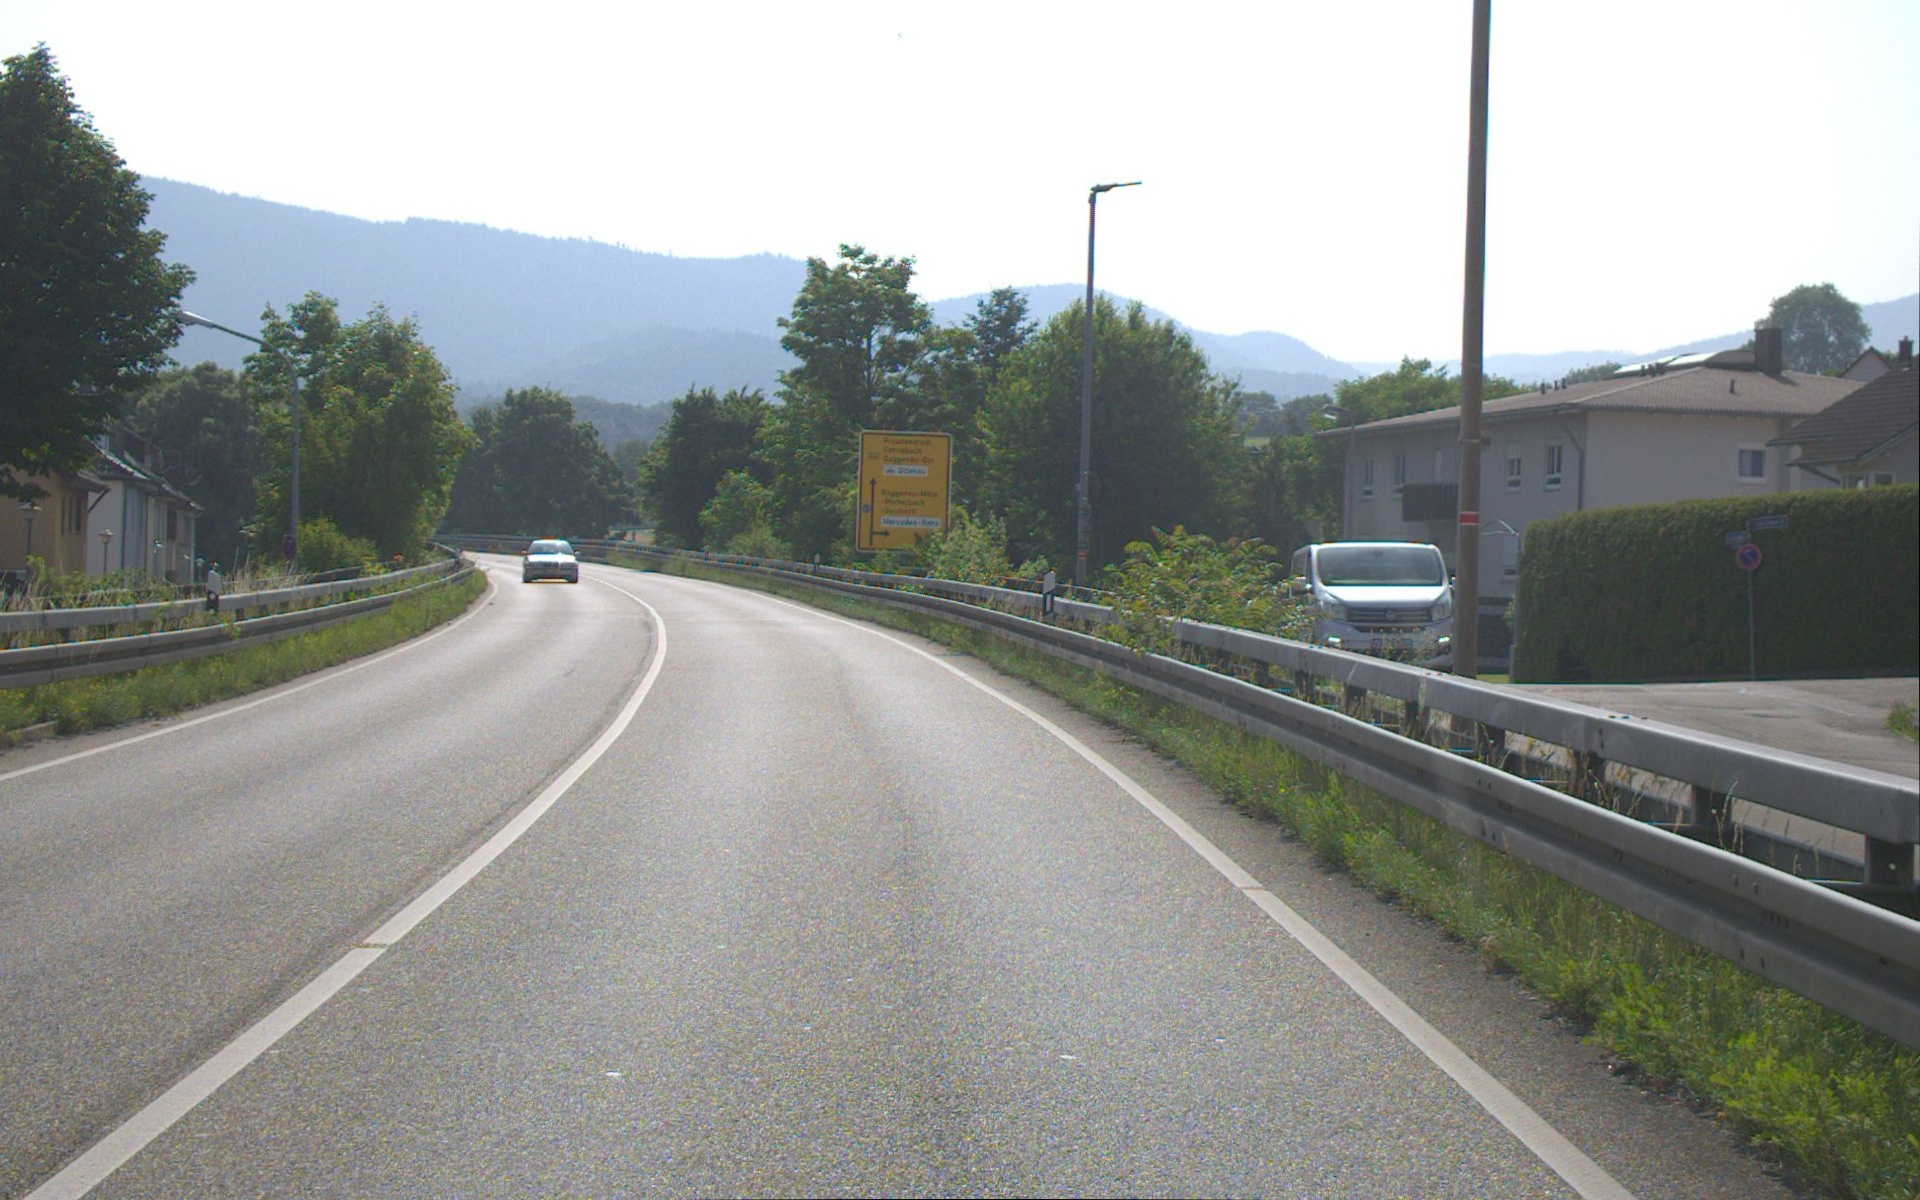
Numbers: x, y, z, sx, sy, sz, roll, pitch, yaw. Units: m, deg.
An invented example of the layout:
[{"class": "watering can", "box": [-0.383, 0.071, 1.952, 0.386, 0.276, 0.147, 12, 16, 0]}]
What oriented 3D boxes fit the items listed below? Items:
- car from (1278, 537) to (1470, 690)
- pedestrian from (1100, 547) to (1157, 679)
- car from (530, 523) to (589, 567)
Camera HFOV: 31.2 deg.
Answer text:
[{"class": "car", "box": [5.615, 0.128, 47.273, 1.993, 1.938, 5.361, 1, 1, 0]}, {"class": "pedestrian", "box": [2.606, 0.192, 53.254, 0.788, 2.007, 0.997, 1, 1, -1]}, {"class": "car", "box": [-13.167, -1.819, 113.121, 1.758, 1.406, 3.990, -1, 1, -5]}]
